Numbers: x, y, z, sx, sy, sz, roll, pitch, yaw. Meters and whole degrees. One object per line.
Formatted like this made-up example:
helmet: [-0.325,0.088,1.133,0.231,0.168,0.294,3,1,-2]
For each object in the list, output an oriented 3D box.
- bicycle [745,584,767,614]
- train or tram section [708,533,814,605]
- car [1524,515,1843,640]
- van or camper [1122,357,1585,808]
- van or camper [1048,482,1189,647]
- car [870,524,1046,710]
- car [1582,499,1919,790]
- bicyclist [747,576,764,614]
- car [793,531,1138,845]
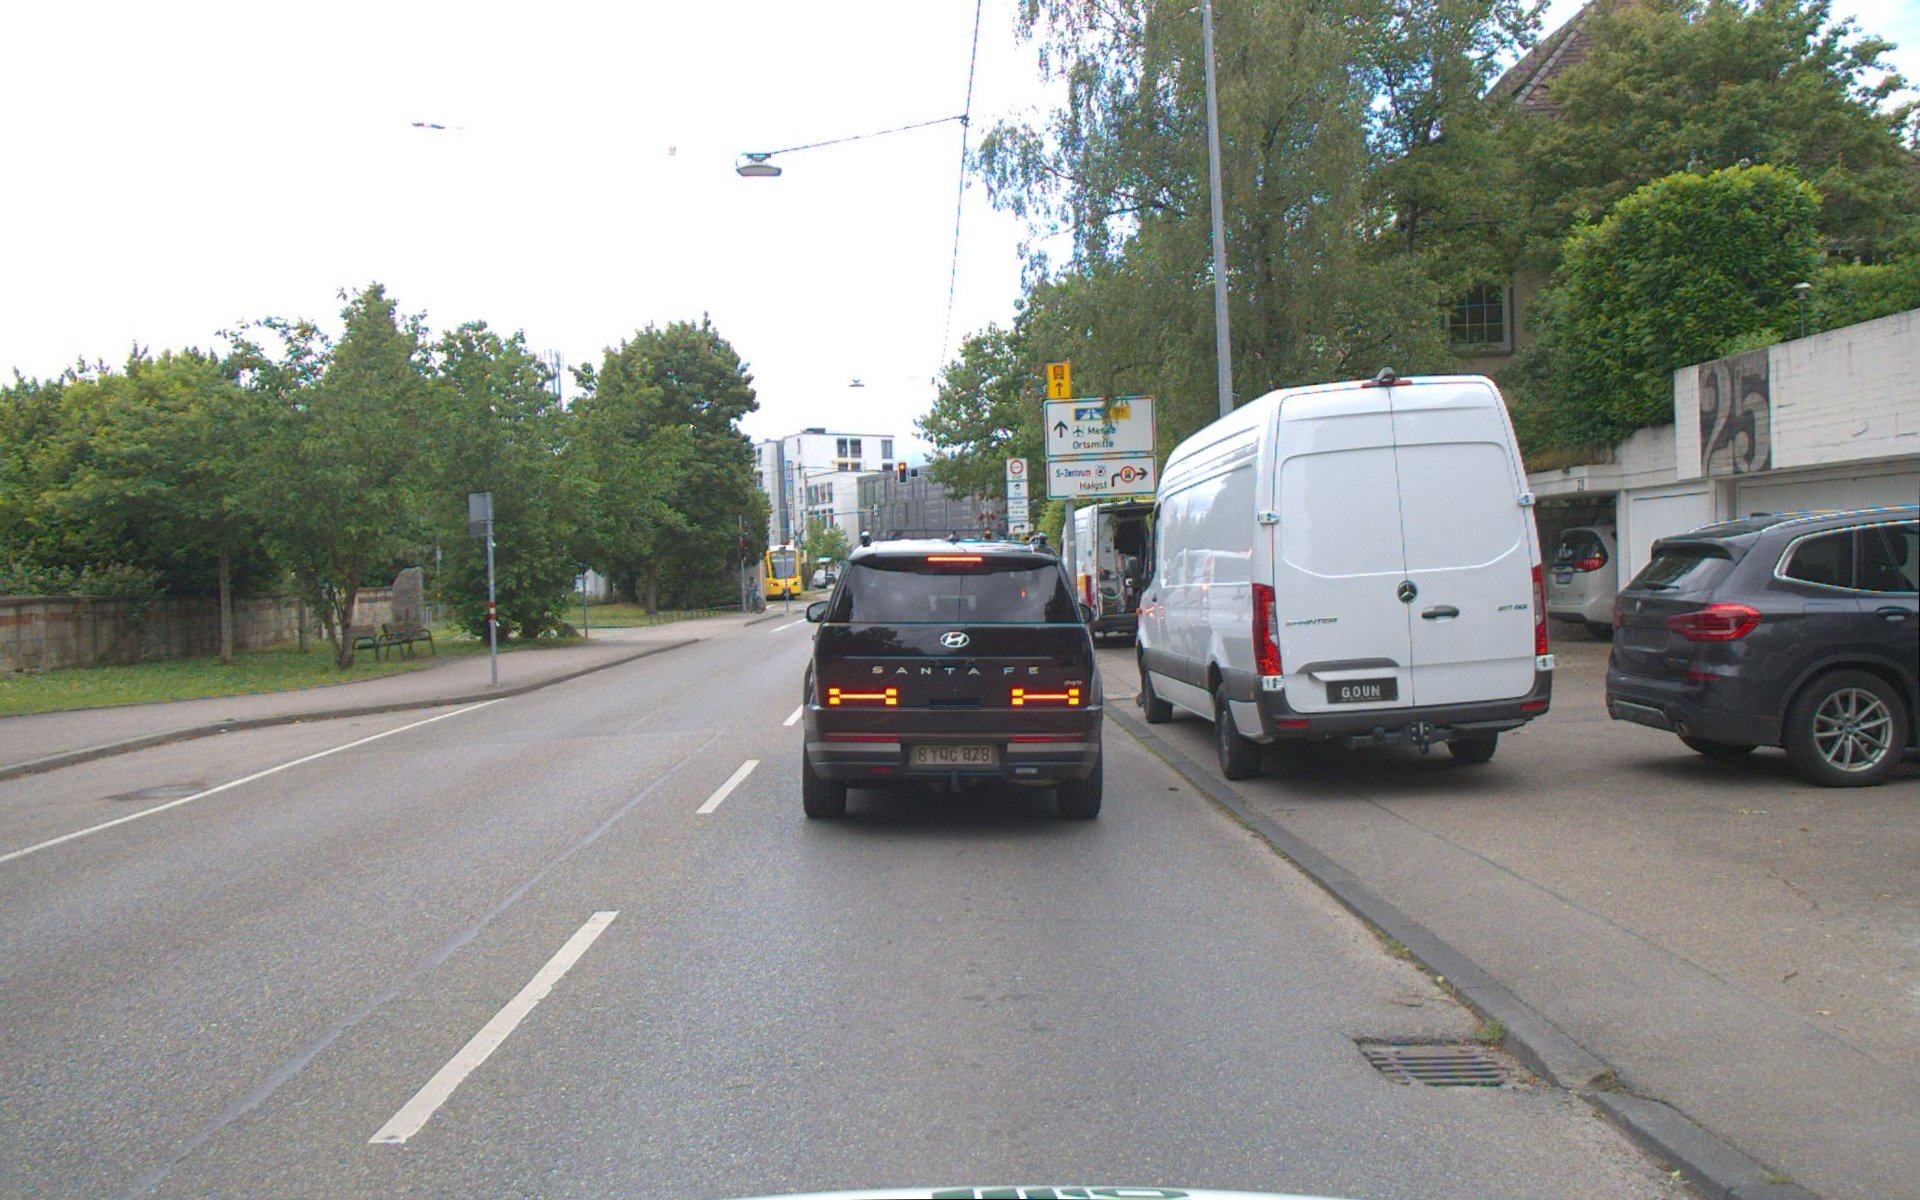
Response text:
bicycle: [-9.241,-0.052,74.757,0.664,1.302,2.491,0,-1,-14]
train or tram section: [-14.943,-2.113,121.776,3.148,4.602,18.560,0,-1,-22]
car: [10.750,-0.342,24.765,3.908,1.741,1.969,-1,1,-3]
van or camper: [2.768,-0.160,13.485,1.924,2.673,6.357,-4,1,-2]
van or camper: [2.985,-0.676,32.315,1.924,2.845,5.285,-4,1,-2]
car: [-0.082,0.158,20.328,1.924,2.036,3.999,-1,1,-2]
car: [6.589,0.177,10.821,4.304,1.681,1.830,-3,1,0]
bicyclist: [-9.240,-0.236,74.789,0.664,1.688,0.855,0,-1,-15]
car: [-0.023,0.464,11.343,1.924,1.741,3.999,-1,1,-2]
